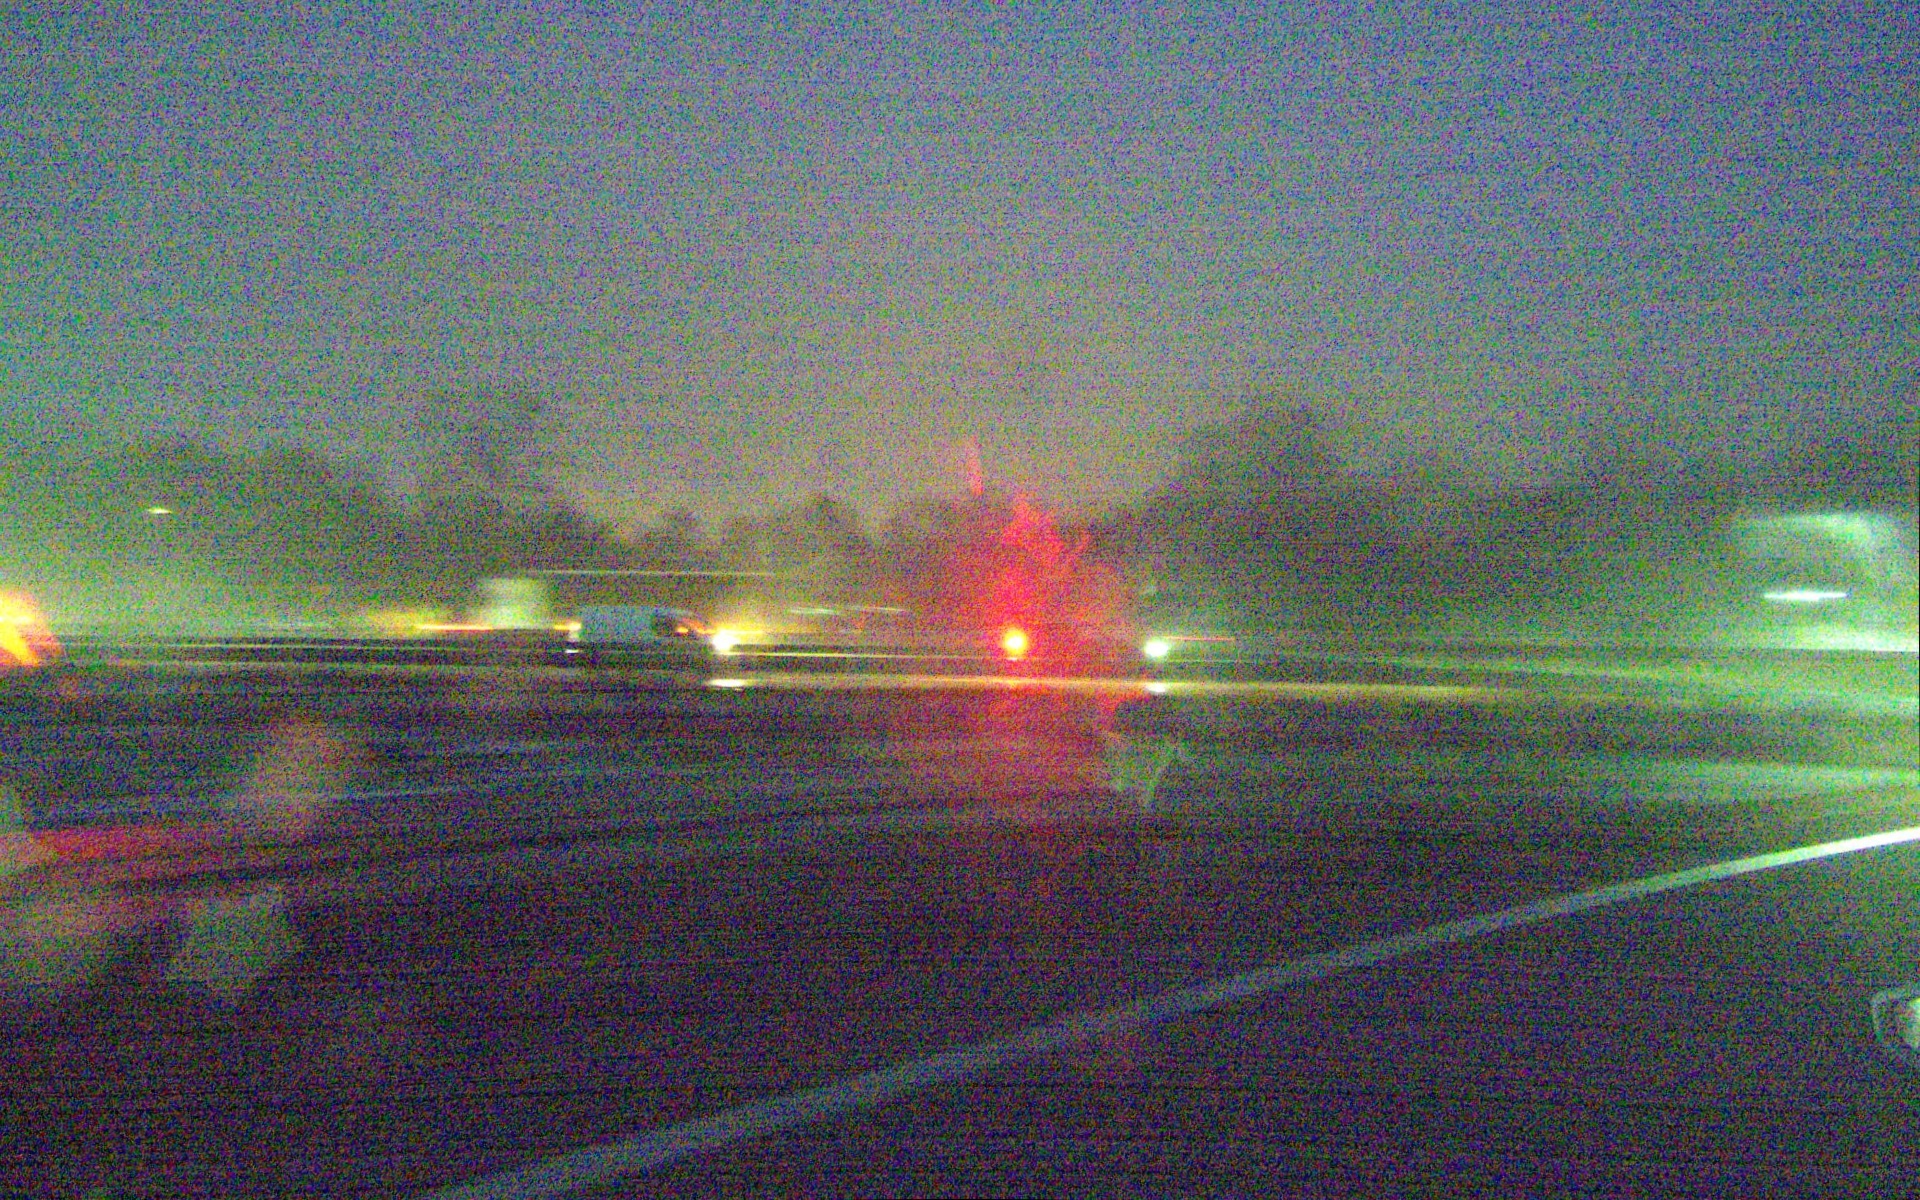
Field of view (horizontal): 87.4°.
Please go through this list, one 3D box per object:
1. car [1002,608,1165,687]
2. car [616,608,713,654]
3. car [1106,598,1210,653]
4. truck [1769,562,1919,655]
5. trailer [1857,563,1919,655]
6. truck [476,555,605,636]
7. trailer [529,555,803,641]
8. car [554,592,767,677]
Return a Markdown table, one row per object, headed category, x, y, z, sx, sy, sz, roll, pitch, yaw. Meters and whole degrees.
| category | x | y | z | sx | sy | sz | roll | pitch | yaw |
| --- | --- | --- | --- | --- | --- | --- | --- | --- | --- |
| car | 3.548 | 1.318 | 28.911 | 4.475 | 2.041 | 2.001 | 1 | 1 | 8 |
| car | -13.966 | 1.454 | 47.658 | 3.919 | 2.041 | 2.001 | 1 | 1 | 9 |
| car | 7.814 | 0.975 | 39.831 | 3.919 | 2.041 | 2.001 | 1 | 1 | 9 |
| truck | 38.651 | 0.334 | 43.019 | 5.588 | 3.781 | 2.662 | 1 | 1 | 8 |
| trailer | 46.144 | 0.465 | 41.993 | 13.659 | 3.781 | 2.662 | 1 | 1 | 8 |
| truck | -22.153 | -0.266 | 53.163 | 5.631 | 4.083 | 2.780 | 1 | 1 | 9 |
| trailer | -15.201 | -0.140 | 52.033 | 13.729 | 4.083 | 2.780 | 1 | 1 | 9 |
| car | -7.755 | 0.875 | 26.248 | 4.915 | 2.040 | 2.001 | 1 | -1 | 8 |
